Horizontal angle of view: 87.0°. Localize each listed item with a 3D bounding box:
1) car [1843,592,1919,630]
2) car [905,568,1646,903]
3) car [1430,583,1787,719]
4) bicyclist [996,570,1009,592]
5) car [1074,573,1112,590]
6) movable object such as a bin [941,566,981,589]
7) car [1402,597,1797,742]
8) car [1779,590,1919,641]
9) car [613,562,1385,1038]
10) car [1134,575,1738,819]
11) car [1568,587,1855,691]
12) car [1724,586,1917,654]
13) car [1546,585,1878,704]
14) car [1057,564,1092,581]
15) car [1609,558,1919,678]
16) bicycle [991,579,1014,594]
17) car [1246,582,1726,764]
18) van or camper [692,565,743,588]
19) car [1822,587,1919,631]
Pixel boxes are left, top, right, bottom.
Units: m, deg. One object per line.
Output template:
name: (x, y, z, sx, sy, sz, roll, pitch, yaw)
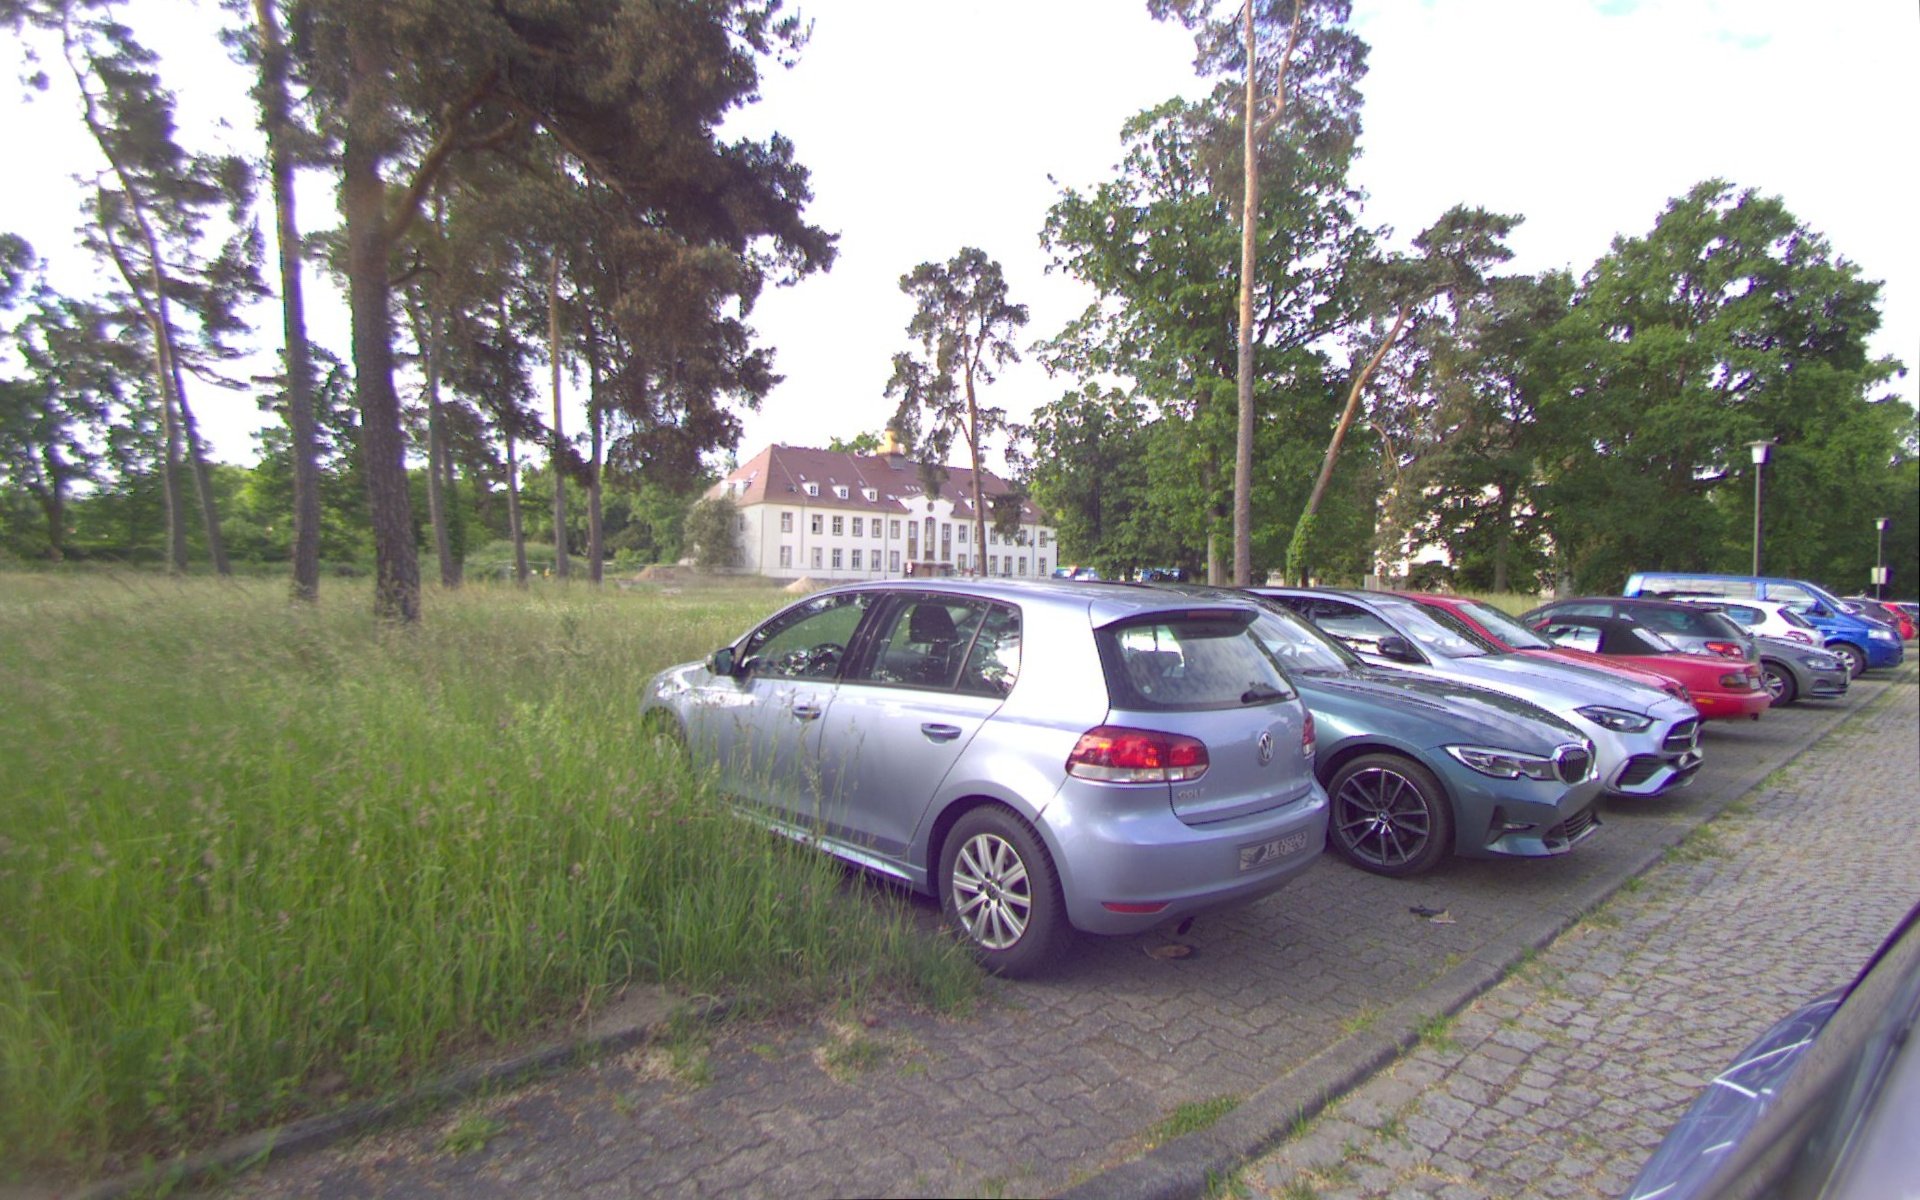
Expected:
car: (41.351, 0.492, 44.290, 1.643, 1.548, 3.838, 0, 2, -38)
car: (1.797, 0.572, 6.903, 4.515, 1.501, 1.778, 3, 2, 45)
car: (8.728, 0.573, 13.861, 1.577, 1.522, 3.833, 0, 2, -43)
bicyclist: (3.476, -1.566, 82.805, 0.830, 1.756, 0.667, 0, -1, -40)
car: (14.029, -1.923, 106.432, 3.867, 1.704, 1.847, 0, 3, -40)
movable object such as a bin: (0.124, -2.727, 123.825, 1.992, 2.802, 5.125, 2, 2, 42)
car: (7.235, 0.683, 11.695, 1.580, 1.303, 3.552, 2, 1, -42)
car: (30.307, 0.501, 34.302, 3.828, 1.544, 1.556, 3, 2, 44)
car: (-0.107, 0.577, 5.135, 1.615, 1.489, 3.845, 0, 2, -45)
car: (3.784, 0.581, 8.667, 1.738, 1.446, 4.330, 0, 3, -44)
car: (12.987, 0.589, 17.657, 1.553, 1.517, 3.760, 0, 2, -41)
car: (23.028, 0.484, 27.174, 3.828, 1.621, 1.556, 3, 2, 44)
car: (11.245, 0.570, 15.335, 1.614, 1.483, 3.779, 0, 2, -41)
car: (14.156, -3.393, 125.218, 3.927, 2.038, 2.219, 0, 2, -38)
car: (16.872, 0.256, 21.317, 2.025, 2.047, 4.951, 0, 4, -42)
bicycle: (3.511, -1.091, 82.857, 1.946, 1.223, 0.638, 0, 1, -40)
car: (5.256, 0.580, 10.561, 1.690, 1.441, 4.114, 0, 2, -42)
van or camper: (-25.351, -2.502, 105.656, 6.057, 2.250, 1.971, 2, 2, 41)
car: (37.838, 0.352, 41.292, 1.552, 1.638, 3.838, 0, 2, -38)
